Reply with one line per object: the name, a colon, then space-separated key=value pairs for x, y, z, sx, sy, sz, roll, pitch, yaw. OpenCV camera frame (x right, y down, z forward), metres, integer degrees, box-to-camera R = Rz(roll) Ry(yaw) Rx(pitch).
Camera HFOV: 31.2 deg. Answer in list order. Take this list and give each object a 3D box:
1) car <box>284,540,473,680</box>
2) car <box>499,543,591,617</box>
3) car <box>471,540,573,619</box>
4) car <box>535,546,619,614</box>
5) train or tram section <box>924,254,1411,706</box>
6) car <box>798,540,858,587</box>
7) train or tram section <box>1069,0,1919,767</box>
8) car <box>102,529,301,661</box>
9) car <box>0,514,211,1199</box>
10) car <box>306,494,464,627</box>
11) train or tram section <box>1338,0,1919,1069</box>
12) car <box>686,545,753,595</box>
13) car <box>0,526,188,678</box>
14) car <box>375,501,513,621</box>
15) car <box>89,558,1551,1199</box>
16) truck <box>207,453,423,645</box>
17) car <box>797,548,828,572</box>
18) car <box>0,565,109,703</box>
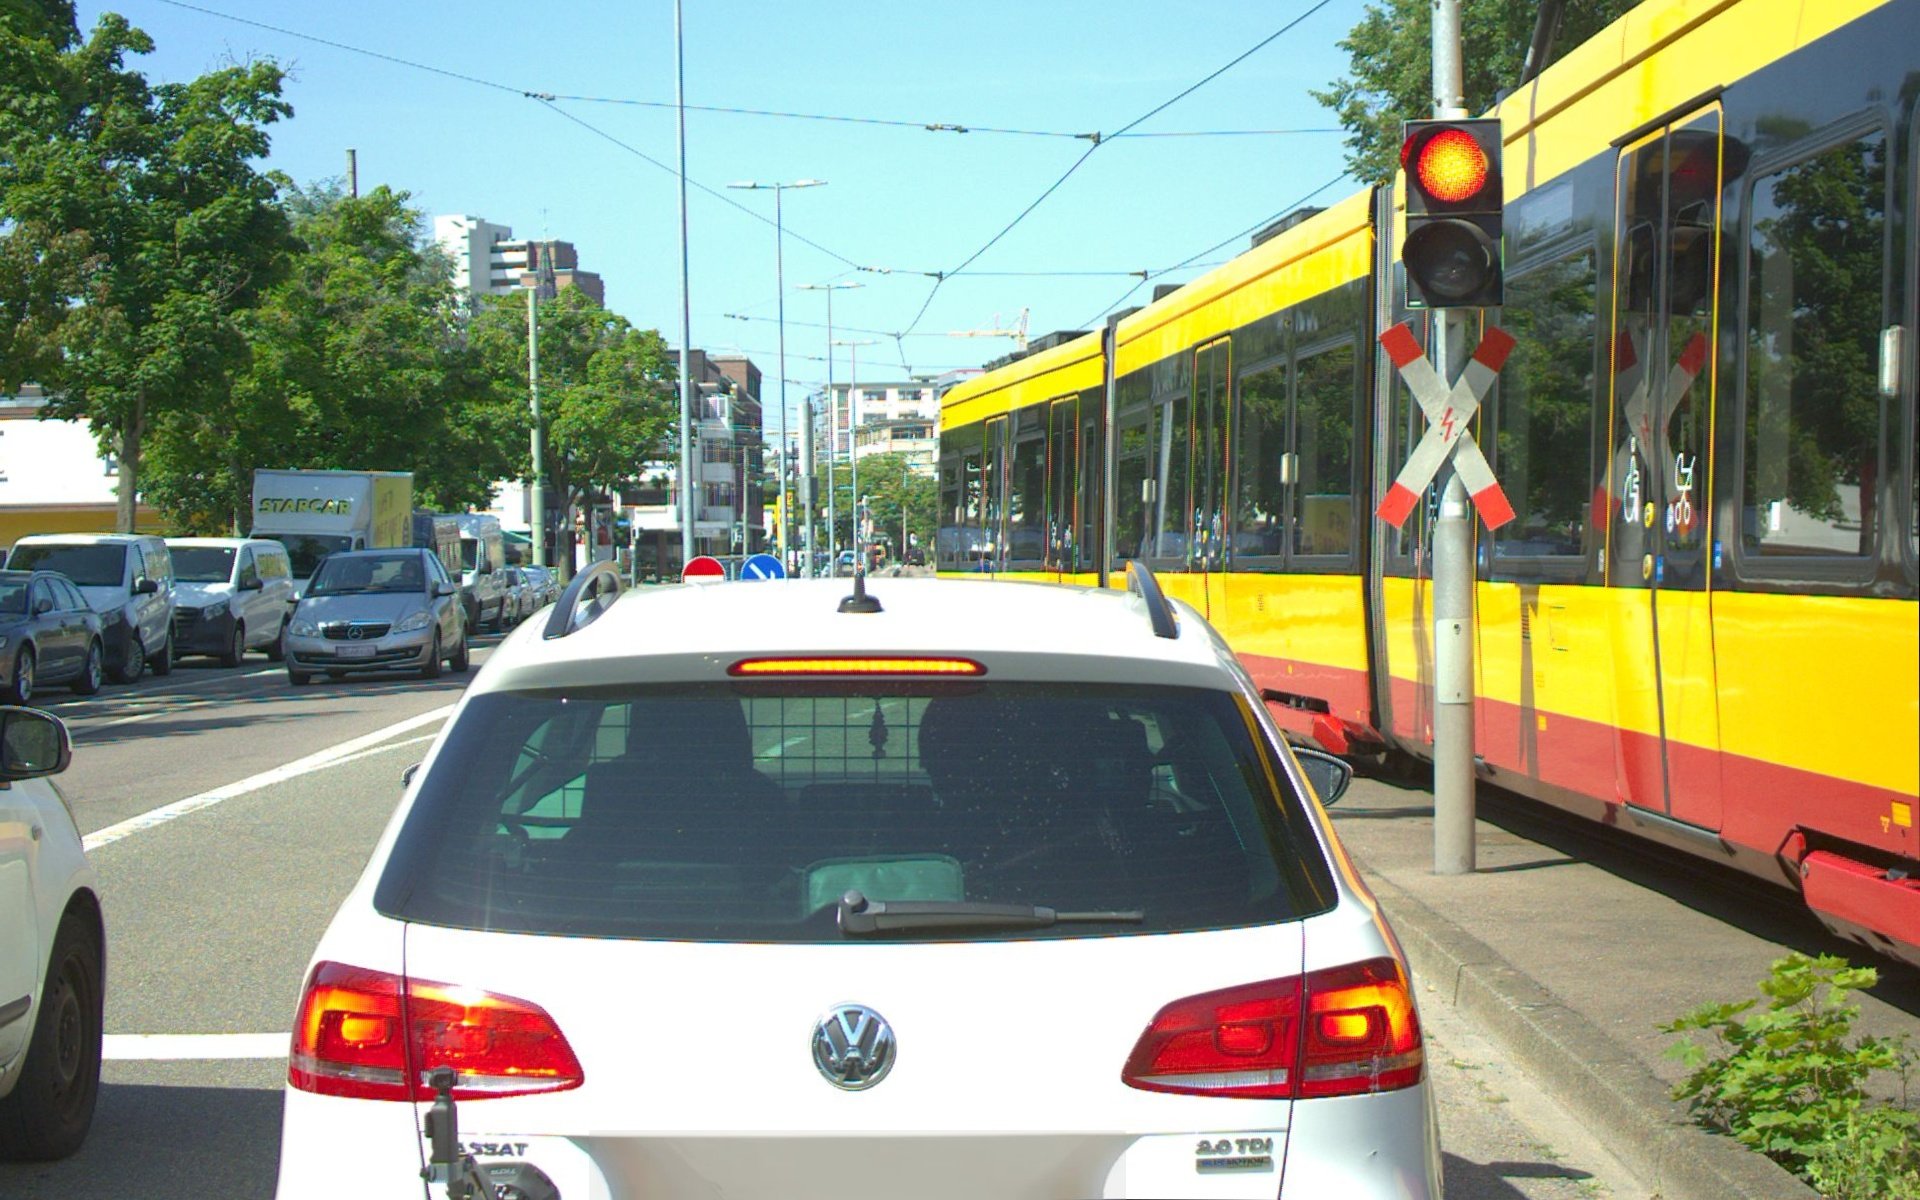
car: x=-7.006 y=0.084 z=41.730 sx=1.676 sy=1.548 sz=3.580 roll=-3 pitch=1 yaw=-1
car: x=-11.024 y=-0.561 z=91.690 sx=1.863 sy=1.861 sz=5.414 roll=1 pitch=1 yaw=-1
car: x=-10.773 y=-0.534 z=84.875 sx=1.863 sy=1.861 sz=5.414 roll=1 pitch=1 yaw=-1
car: x=-10.947 y=-0.595 z=98.607 sx=1.863 sy=1.861 sz=5.414 roll=1 pitch=1 yaw=-1
train or tram section: x=1.755 y=-1.132 z=34.936 sx=2.870 sy=3.842 sz=10.541 roll=-1 pitch=1 yaw=-8
car: x=-4.311 y=-1.204 z=112.531 sx=1.705 sy=1.468 sz=4.589 roll=-2 pitch=1 yaw=1
train or tram section: x=2.918 y=-1.229 z=23.509 sx=2.870 sy=3.842 sz=12.394 roll=-1 pitch=1 yaw=-5
car: x=-11.372 y=-0.121 z=51.908 sx=1.863 sy=1.861 sz=5.414 roll=1 pitch=1 yaw=-1
car: x=-2.948 y=0.588 z=7.371 sx=1.662 sy=1.542 sz=4.547 roll=0 pitch=1 yaw=0
car: x=-11.361 y=-0.805 z=68.324 sx=2.123 sy=2.508 sz=5.733 roll=1 pitch=1 yaw=0
train or tram section: x=3.662 y=-0.833 z=11.123 sx=2.870 sy=3.842 sz=12.393 roll=-1 pitch=1 yaw=-3
car: x=-7.518 y=-0.963 z=107.868 sx=1.705 sy=1.468 sz=4.589 roll=-2 pitch=1 yaw=1
car: x=-11.444 y=-0.026 z=45.320 sx=1.863 sy=1.861 sz=5.075 roll=1 pitch=1 yaw=-6
car: x=-11.312 y=-0.875 z=75.760 sx=2.123 sy=2.508 sz=5.733 roll=1 pitch=1 yaw=0
car: x=-0.182 y=0.673 z=6.192 sx=1.762 sy=1.425 sz=4.000 roll=-1 pitch=1 yaw=-1
truck: x=-11.214 y=-0.905 z=60.321 sx=2.421 sy=3.139 sz=6.997 roll=1 pitch=1 yaw=0
car: x=-9.442 y=-2.566 z=220.147 sx=1.705 sy=1.468 sz=4.589 roll=-2 pitch=1 yaw=1
car: x=-11.017 y=0.331 z=38.700 sx=1.863 sy=1.411 sz=4.280 roll=1 pitch=1 yaw=-1
